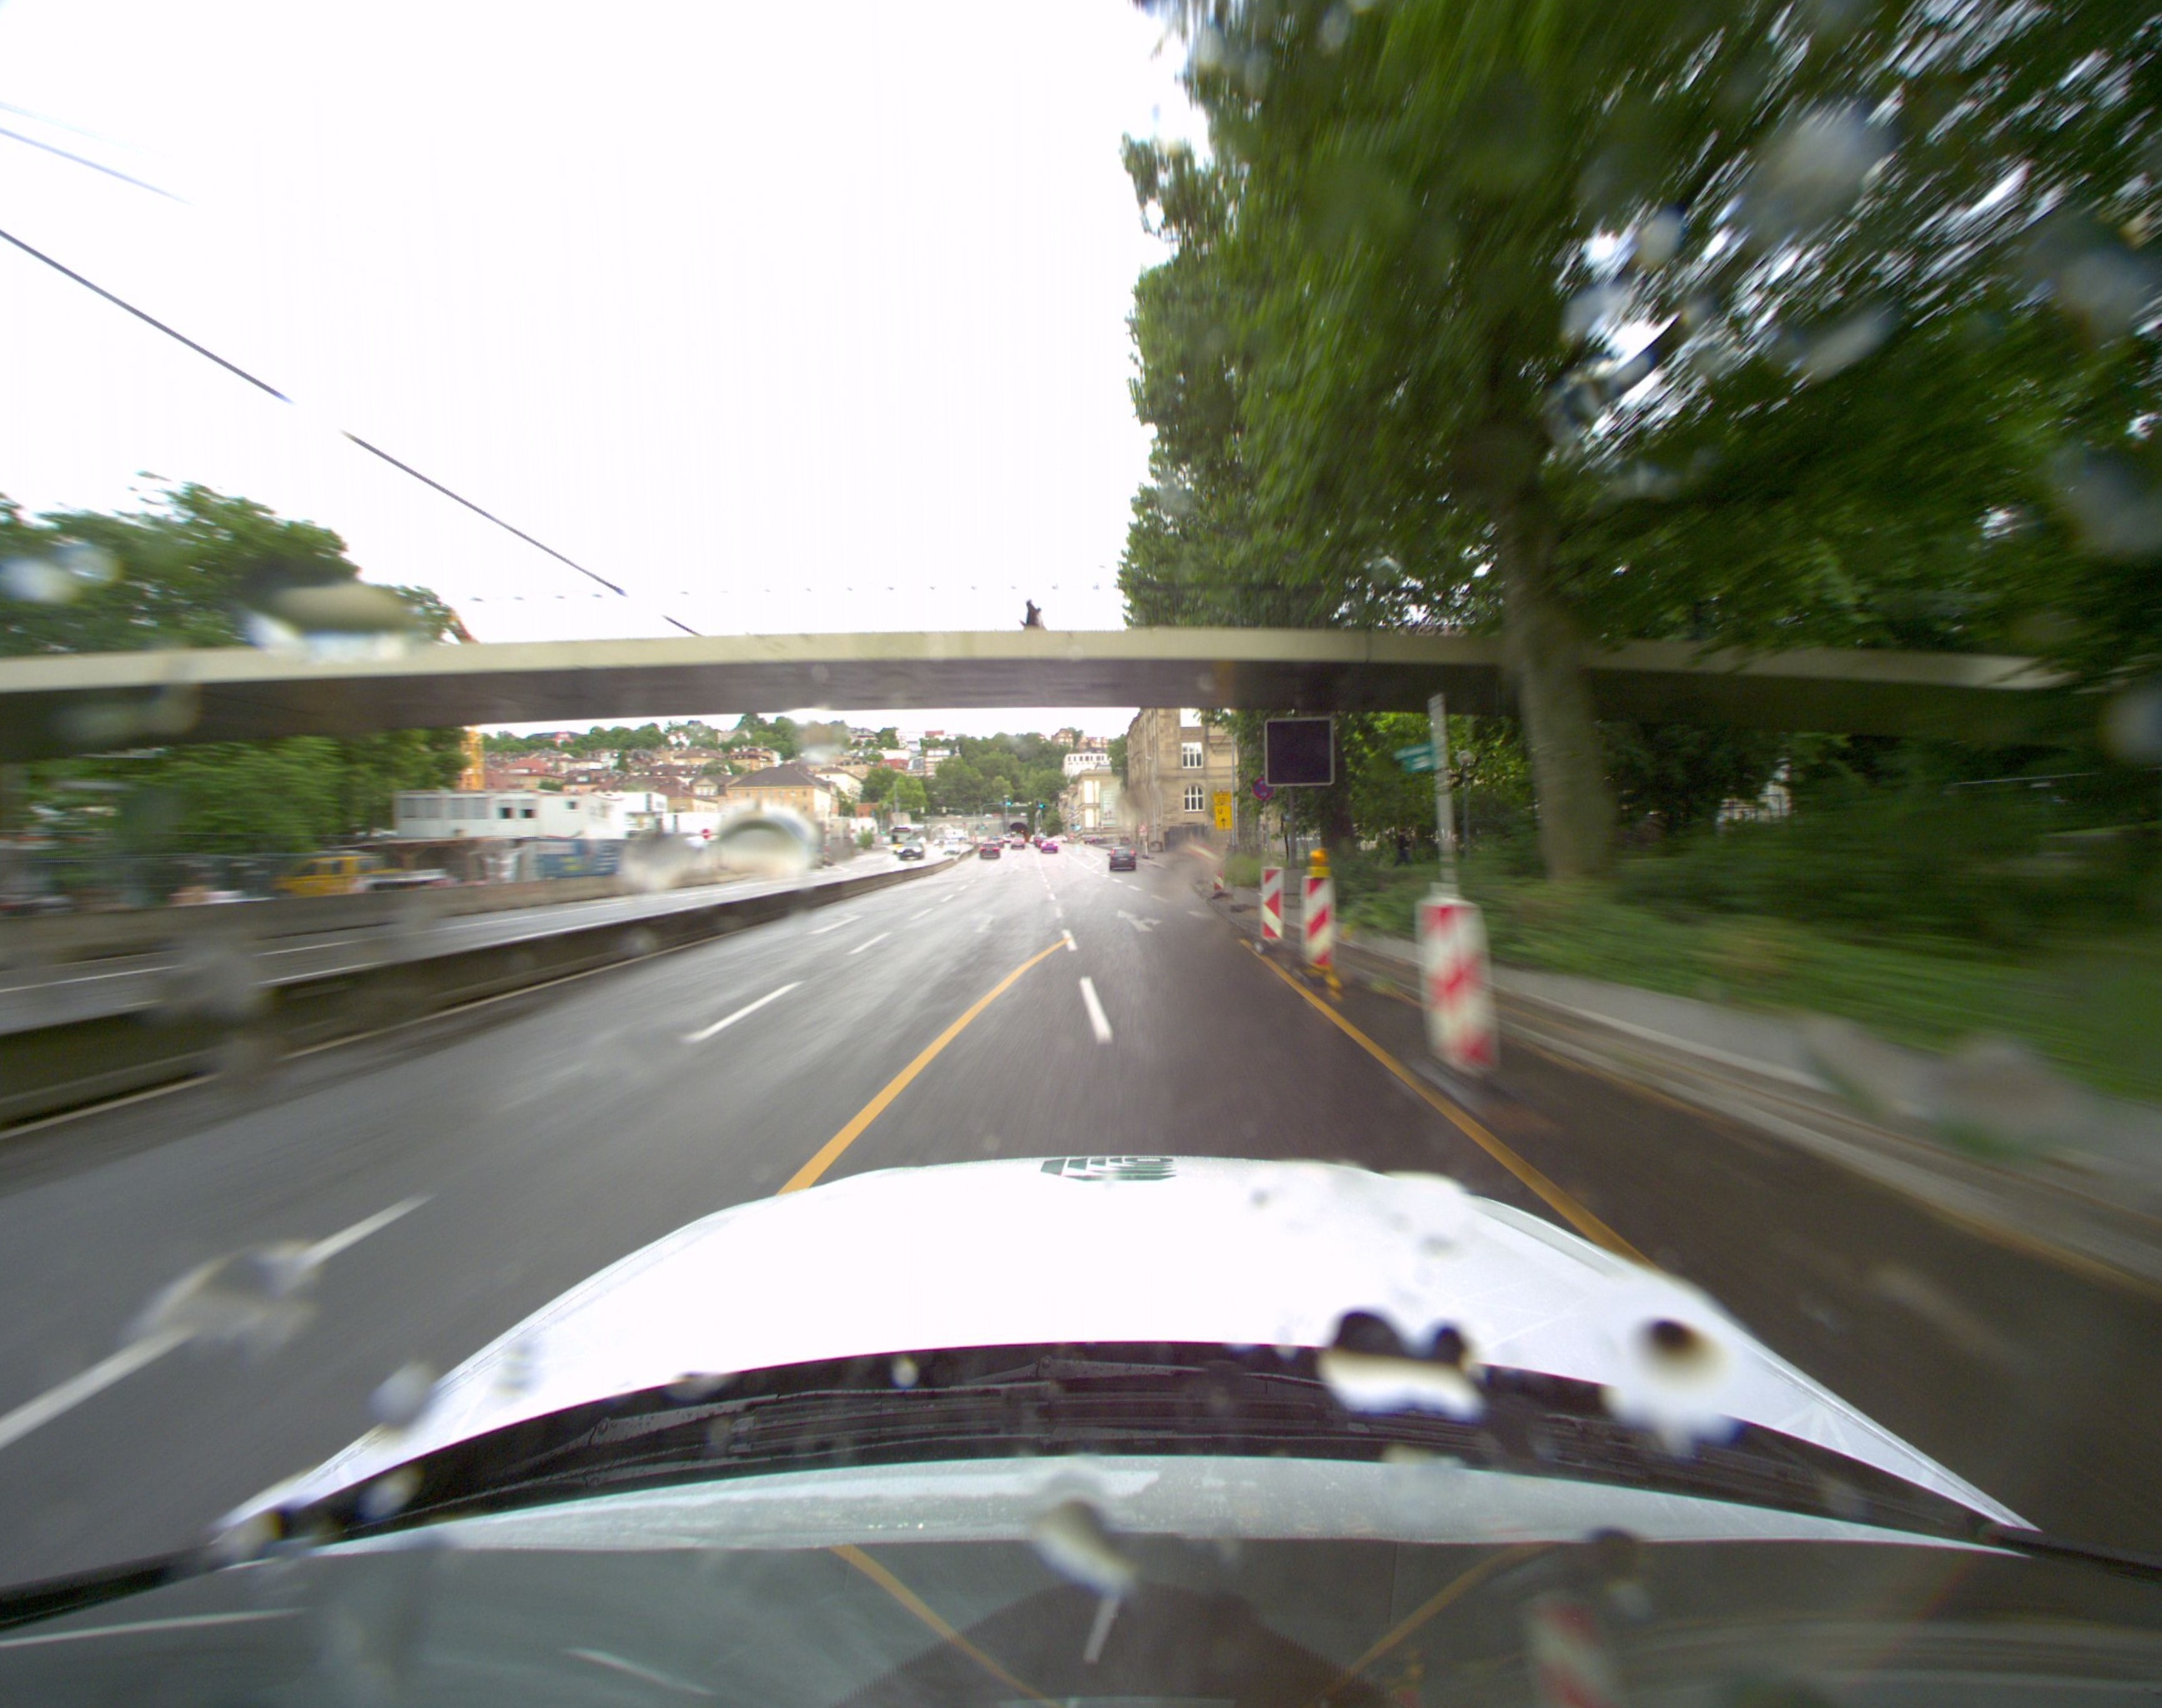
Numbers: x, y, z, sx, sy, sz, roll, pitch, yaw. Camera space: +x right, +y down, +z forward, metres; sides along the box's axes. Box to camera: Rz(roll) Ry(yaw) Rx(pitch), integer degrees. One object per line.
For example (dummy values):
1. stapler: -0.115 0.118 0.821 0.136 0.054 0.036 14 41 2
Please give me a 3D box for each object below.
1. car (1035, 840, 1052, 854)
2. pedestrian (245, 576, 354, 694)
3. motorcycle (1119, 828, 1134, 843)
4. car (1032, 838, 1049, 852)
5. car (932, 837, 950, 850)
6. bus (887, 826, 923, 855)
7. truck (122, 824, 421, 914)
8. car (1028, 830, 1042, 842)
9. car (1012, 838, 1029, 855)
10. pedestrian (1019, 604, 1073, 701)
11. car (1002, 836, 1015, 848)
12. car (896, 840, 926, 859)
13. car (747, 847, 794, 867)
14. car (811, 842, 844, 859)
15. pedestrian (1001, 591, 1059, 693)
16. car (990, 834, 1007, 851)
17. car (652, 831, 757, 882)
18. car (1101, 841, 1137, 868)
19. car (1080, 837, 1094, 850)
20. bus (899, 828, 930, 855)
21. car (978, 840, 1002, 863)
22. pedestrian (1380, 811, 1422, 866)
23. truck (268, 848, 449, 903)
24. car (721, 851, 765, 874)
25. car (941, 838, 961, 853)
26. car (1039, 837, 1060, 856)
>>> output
1. car: -5.073 -0.921 109.561 1.992 1.698 3.991 -2 0 -7
2. pedestrian: -15.953 -4.437 16.652 1.143 2.060 1.060 -3 -1 3
3. motorcycle: 6.595 -2.733 118.218 1.790 2.013 3.812 -2 2 -1
4. car: -5.792 -1.258 116.044 1.992 1.698 3.990 -2 -1 -7
5. car: -19.332 -1.402 112.504 2.037 1.662 4.921 -2 -1 -7
6. bus: -20.424 -1.530 94.851 2.802 3.184 8.792 -2 0 -5
7. truck: -25.736 0.450 26.261 6.282 2.452 2.682 -2 -1 -13
8. car: -7.903 -3.047 139.018 1.992 2.013 3.989 -3 0 -8
9. car: -7.850 -0.937 105.381 2.049 2.013 3.992 -2 -1 -6
10. pedestrian: -0.850 -4.950 20.108 1.143 2.060 1.060 -3 -1 3
11. car: -13.843 -2.334 155.361 2.290 2.013 4.593 -2 -1 -7
12. car: -15.708 -0.400 75.523 2.078 1.630 4.845 -2 1 -5
13. car: -25.801 0.275 67.898 1.753 1.565 4.689 -3 -1 5
14. car: -25.384 -0.370 81.603 1.988 1.621 3.999 -2 2 -1
15. pedestrian: -1.181 -4.928 19.083 1.143 2.060 1.060 -3 -1 3
16. car: -11.167 -1.537 110.275 1.989 2.013 3.996 -3 -1 -2
17. car: -23.102 0.112 50.341 1.976 2.875 6.085 -3 -1 22
18. car: 2.326 0.055 50.953 1.808 1.527 3.995 -3 0 -4
19. car: 0.990 -1.689 134.757 1.985 2.013 4.004 -1 0 3
20. bus: -21.132 -1.579 103.849 2.699 3.151 9.135 -2 0 -5
21. car: -8.430 -0.233 76.088 2.013 2.013 3.993 -2 -1 -5
22. pedestrian: 11.929 -0.578 30.390 1.058 2.013 1.027 -3 1 -39
23. truck: -30.252 0.868 34.272 5.246 2.013 2.157 -2 0 -9
24. car: -26.053 0.592 62.890 1.757 1.565 4.172 -2 2 -2
25. car: -13.889 -0.878 87.260 1.705 1.489 3.446 -3 -1 -3
26. car: -3.513 -0.816 91.288 2.101 2.050 3.993 -2 -1 -5
